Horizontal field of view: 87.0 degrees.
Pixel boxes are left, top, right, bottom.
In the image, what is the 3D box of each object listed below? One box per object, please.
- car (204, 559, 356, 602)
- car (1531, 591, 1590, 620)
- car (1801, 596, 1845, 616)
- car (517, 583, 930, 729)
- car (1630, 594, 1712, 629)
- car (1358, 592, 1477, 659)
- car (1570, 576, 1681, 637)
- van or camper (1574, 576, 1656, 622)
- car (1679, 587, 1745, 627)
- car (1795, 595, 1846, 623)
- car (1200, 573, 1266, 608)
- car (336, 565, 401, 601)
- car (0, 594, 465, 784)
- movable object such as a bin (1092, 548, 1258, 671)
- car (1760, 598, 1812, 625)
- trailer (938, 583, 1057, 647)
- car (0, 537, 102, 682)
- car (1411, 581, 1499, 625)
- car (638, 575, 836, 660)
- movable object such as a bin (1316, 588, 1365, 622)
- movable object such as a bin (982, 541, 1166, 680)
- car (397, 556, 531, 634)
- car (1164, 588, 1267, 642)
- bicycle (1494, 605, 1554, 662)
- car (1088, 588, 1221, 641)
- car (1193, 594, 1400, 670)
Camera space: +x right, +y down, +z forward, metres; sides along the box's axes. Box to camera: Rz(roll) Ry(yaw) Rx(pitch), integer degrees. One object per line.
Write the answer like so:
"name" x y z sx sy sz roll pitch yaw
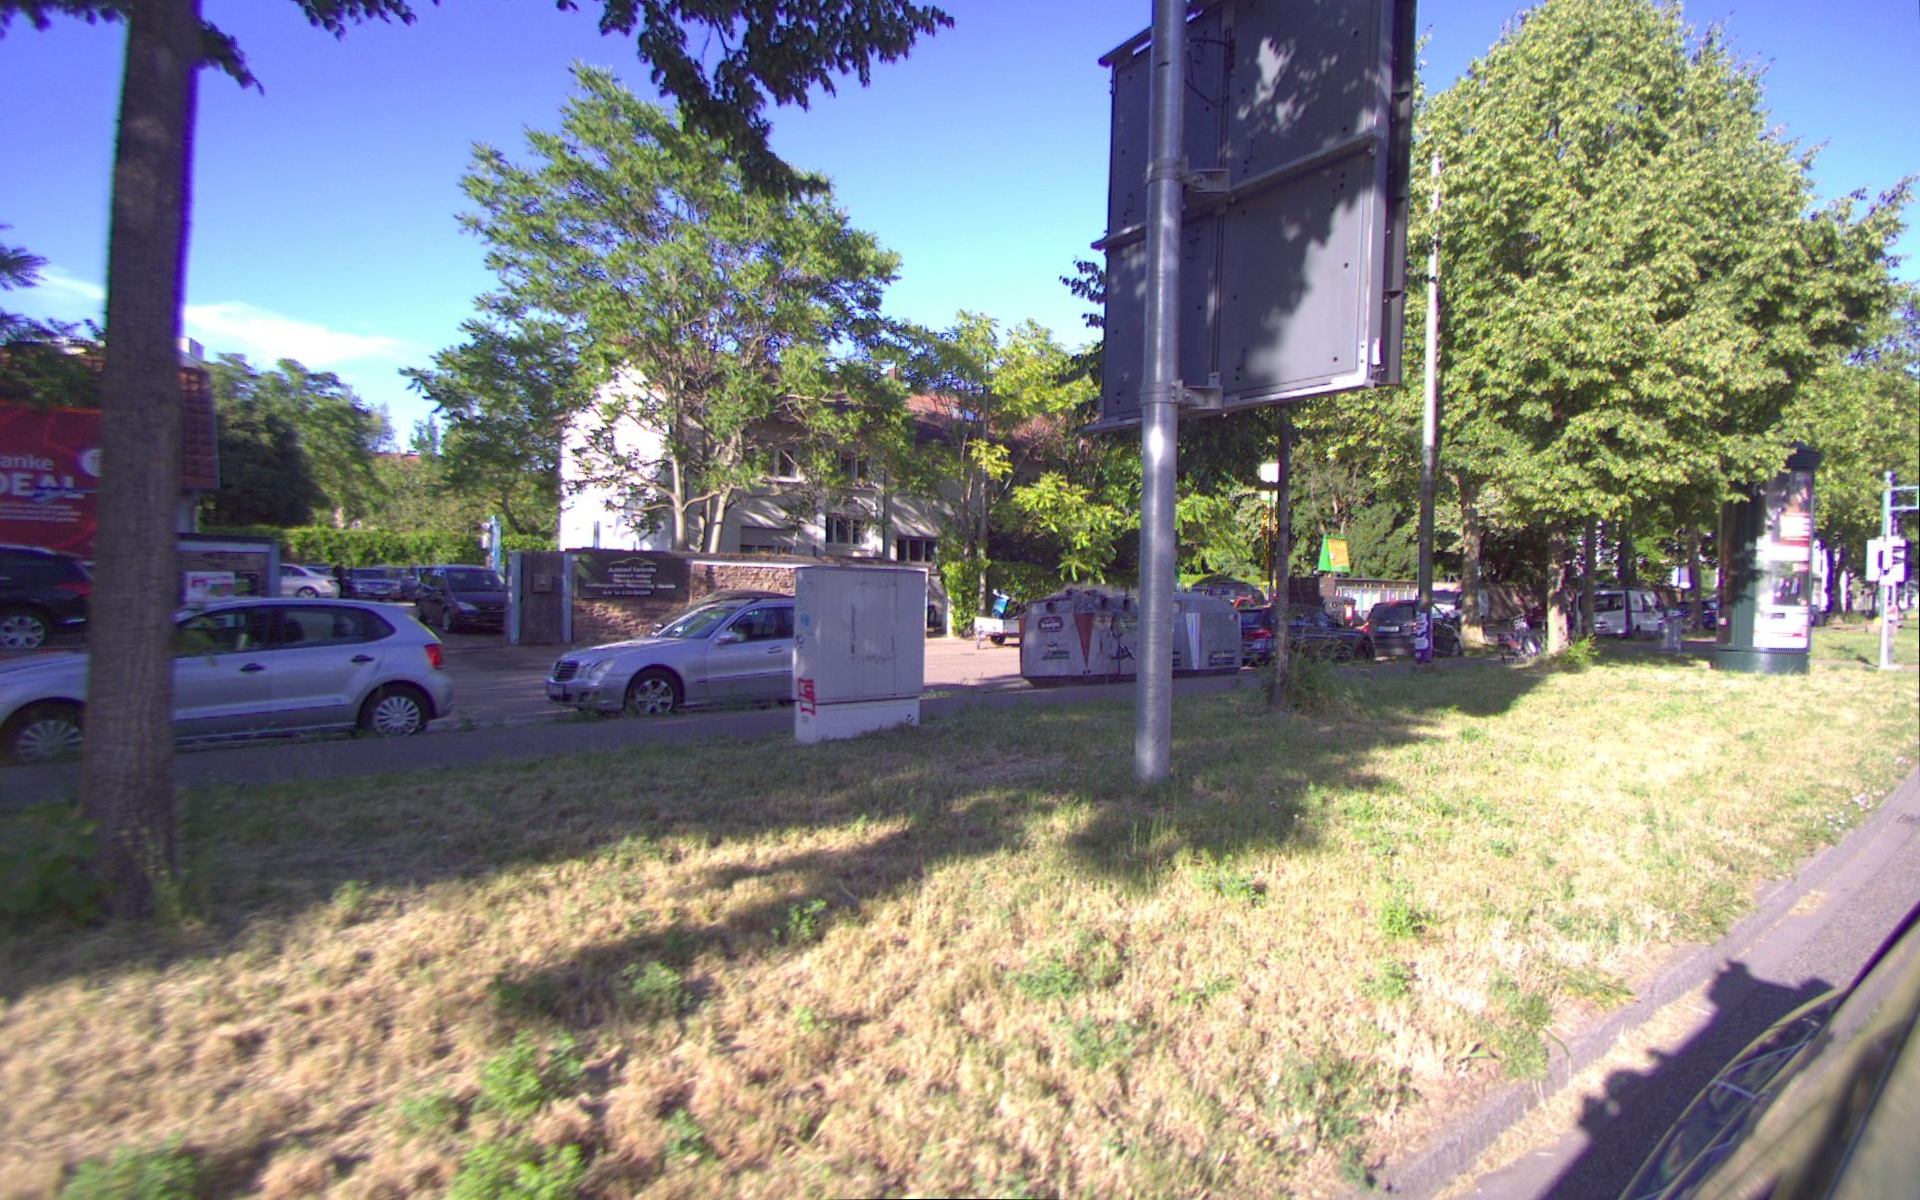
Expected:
"car" -24.307 -0.683 36.242 4.334 1.438 1.901 -1 0 -41
"car" 34.099 0.292 57.444 3.691 1.490 1.694 0 3 -40
"car" 74.277 0.492 87.131 1.981 1.661 3.962 -1 0 27
"car" -2.873 0.573 13.157 4.970 1.543 1.873 -1 0 -43
"car" 28.807 0.435 40.983 3.986 1.306 1.995 -1 0 -44
"car" 11.333 0.585 25.039 2.938 1.519 1.663 -1 0 -43
"car" 24.250 0.200 36.782 5.724 2.039 2.191 -1 0 -44
"van or camper" 41.672 -0.069 64.331 6.449 2.717 2.562 0 3 -41
"car" 33.937 0.289 45.639 4.281 1.662 1.738 -1 0 -44
"car" 51.882 0.552 60.983 3.952 1.580 1.795 -1 -2 -42
"car" 16.536 -0.578 61.206 3.929 2.039 1.997 -1 0 -40
"car" -24.915 -0.697 42.597 1.870 1.438 3.997 -1 0 -38
"car" -6.931 0.670 9.260 1.871 1.407 3.936 -1 0 45
"movable object such as a bin" 3.858 0.153 18.201 2.099 2.039 2.084 -1 0 -41
"car" 46.634 0.626 57.097 3.820 1.456 1.794 -1 0 -44
"trailer" 1.086 0.371 28.859 2.970 1.660 1.734 -1 3 -41
"car" -14.948 0.101 13.997 4.613 2.027 1.873 -1 3 -44
"car" 23.908 0.109 48.806 4.855 2.039 2.091 0 1 -41
"car" -5.025 0.327 23.088 3.934 1.659 1.996 -1 4 -44
"movable object such as a bin" 17.999 0.218 47.874 1.645 1.487 1.462 4 3 44
"movable object such as a bin" 1.835 0.145 16.384 2.099 2.039 2.084 -1 0 -41
"car" -12.878 -0.191 26.176 3.989 1.765 1.874 4 3 44
"car" 8.988 0.473 35.505 1.996 1.626 3.424 6 5 44
"bicycle" 11.212 0.639 20.098 1.872 1.060 0.493 -1 0 -44
"car" 6.315 0.423 32.594 4.249 1.501 1.998 -1 3 -41
"car" 7.206 0.609 21.434 4.660 1.402 2.003 -1 0 -40
